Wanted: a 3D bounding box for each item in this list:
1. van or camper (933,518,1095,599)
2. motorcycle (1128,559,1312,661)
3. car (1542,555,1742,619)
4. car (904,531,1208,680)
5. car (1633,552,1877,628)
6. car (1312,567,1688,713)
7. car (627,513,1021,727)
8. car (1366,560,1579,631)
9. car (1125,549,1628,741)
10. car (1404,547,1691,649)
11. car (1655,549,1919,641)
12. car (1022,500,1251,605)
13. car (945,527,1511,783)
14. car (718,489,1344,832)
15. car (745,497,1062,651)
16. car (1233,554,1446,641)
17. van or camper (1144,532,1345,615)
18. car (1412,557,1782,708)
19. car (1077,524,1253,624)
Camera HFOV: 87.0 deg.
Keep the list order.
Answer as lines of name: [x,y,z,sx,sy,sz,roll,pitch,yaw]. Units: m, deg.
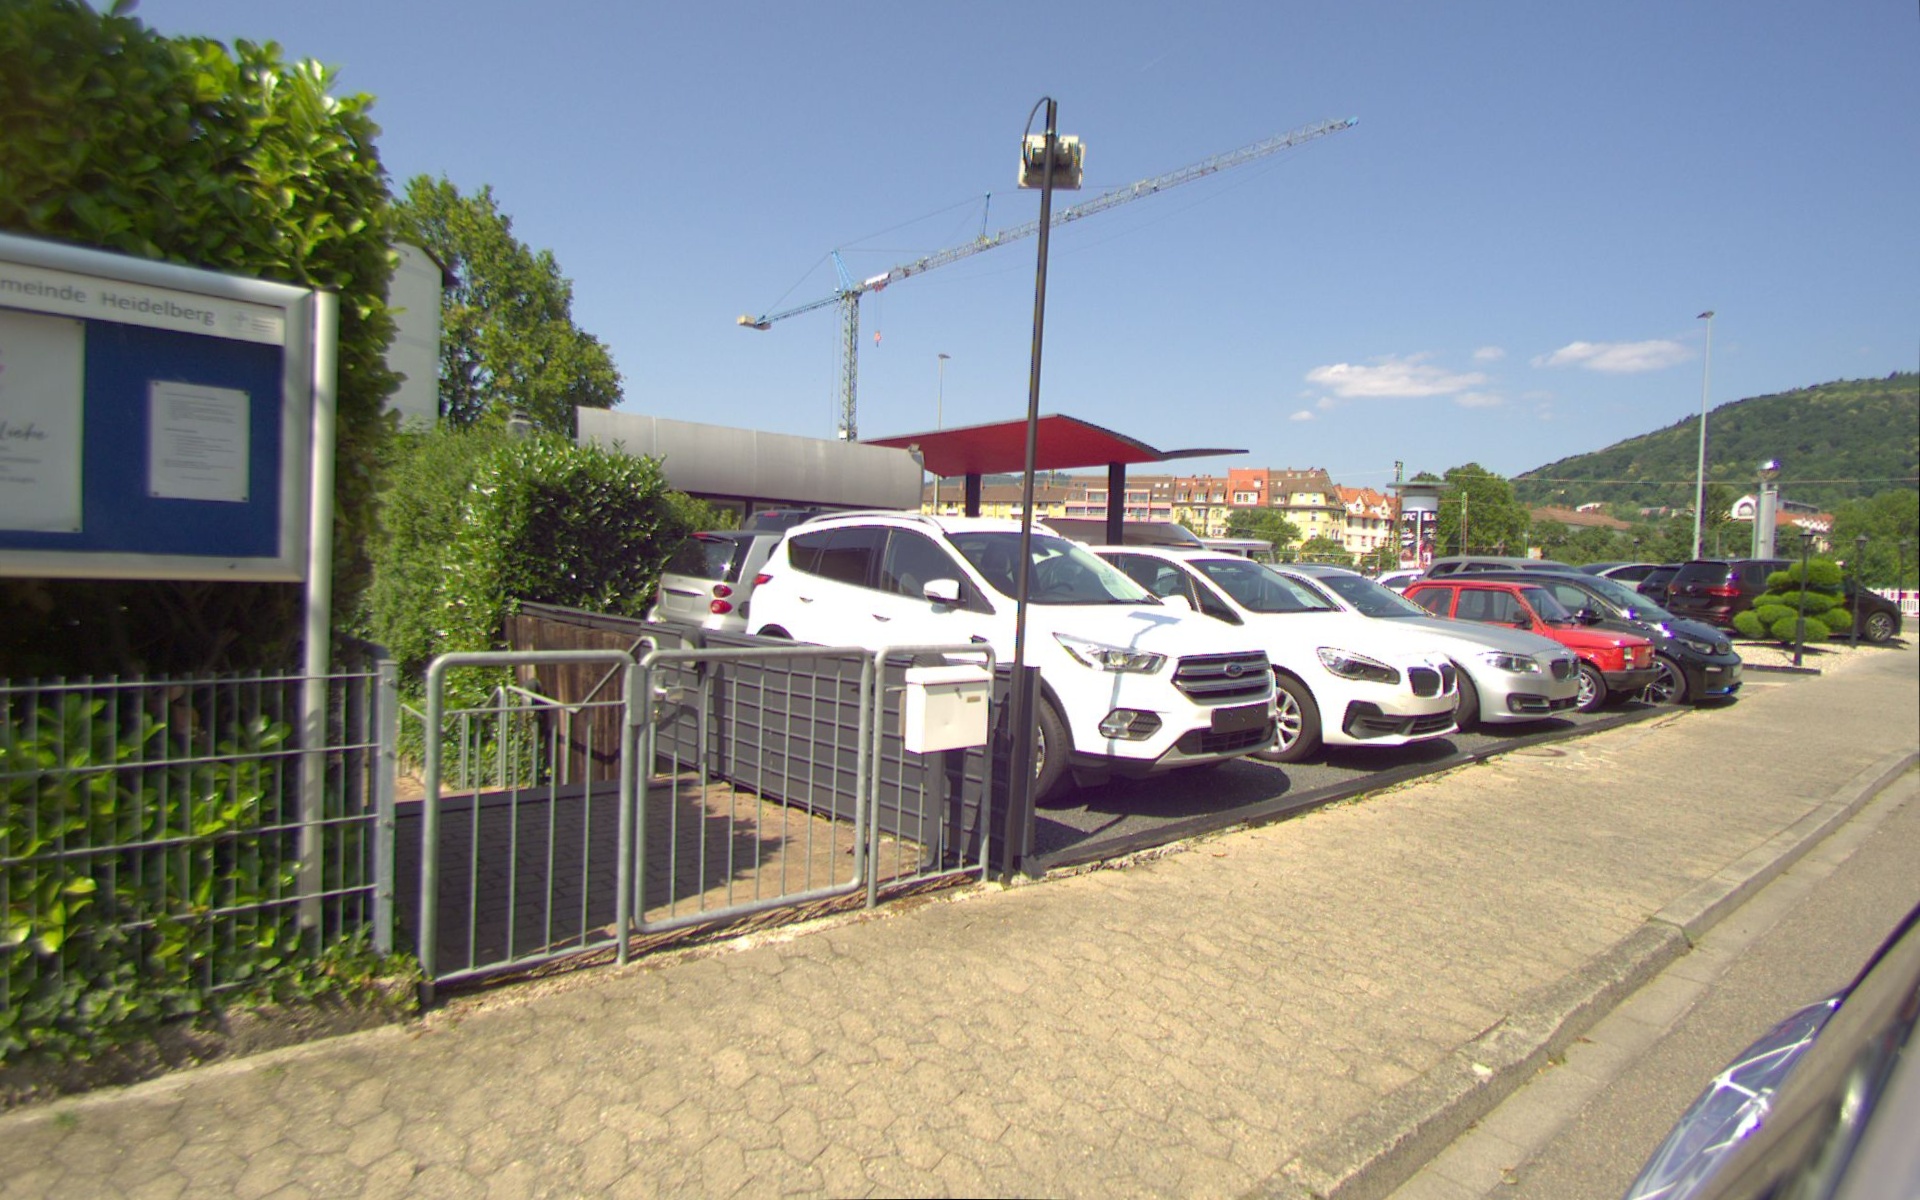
van or camper: [1.767,-1.384,32.949,4.874,2.466,1.987,2,2,20]
motorcycle: [4.121,0.098,16.220,2.679,1.450,0.996,4,3,40]
car: [19.446,-0.382,28.923,4.716,1.713,2.022,0,2,-13]
car: [1.403,-0.007,13.936,3.931,1.749,1.998,-1,3,-41]
car: [20.173,-0.279,25.811,4.721,1.801,2.020,1,2,-5]
car: [6.171,0.347,11.866,1.532,1.351,3.556,-1,3,-41]
car: [-1.359,0.110,10.847,3.723,1.883,1.997,-2,2,-41]
car: [12.283,-0.159,24.521,4.139,1.553,1.921,1,2,10]
car: [4.021,0.265,10.423,1.864,1.515,4.412,0,3,-40]
car: [11.514,-0.138,20.352,1.884,1.784,5.010,1,2,-16]
car: [17.406,-0.144,21.349,4.205,1.804,1.856,1,3,-4]
car: [4.970,-1.408,28.761,5.964,2.711,2.238,3,3,28]
car: [2.029,0.222,8.778,1.865,1.546,4.412,-1,5,-42]
car: [0.178,0.189,7.190,1.812,1.673,4.410,-1,3,-42]
car: [-0.733,-0.437,15.837,4.828,2.038,1.995,-1,4,-45]
car: [8.164,-0.136,22.308,1.884,1.655,4.589,1,3,-19]
van or camper: [8.458,-0.831,30.173,5.455,2.289,2.092,2,2,28]
car: [8.327,0.297,13.490,1.729,1.644,3.810,-1,3,-41]
car: [4.831,-0.703,24.612,1.885,2.176,4.589,1,3,-22]
